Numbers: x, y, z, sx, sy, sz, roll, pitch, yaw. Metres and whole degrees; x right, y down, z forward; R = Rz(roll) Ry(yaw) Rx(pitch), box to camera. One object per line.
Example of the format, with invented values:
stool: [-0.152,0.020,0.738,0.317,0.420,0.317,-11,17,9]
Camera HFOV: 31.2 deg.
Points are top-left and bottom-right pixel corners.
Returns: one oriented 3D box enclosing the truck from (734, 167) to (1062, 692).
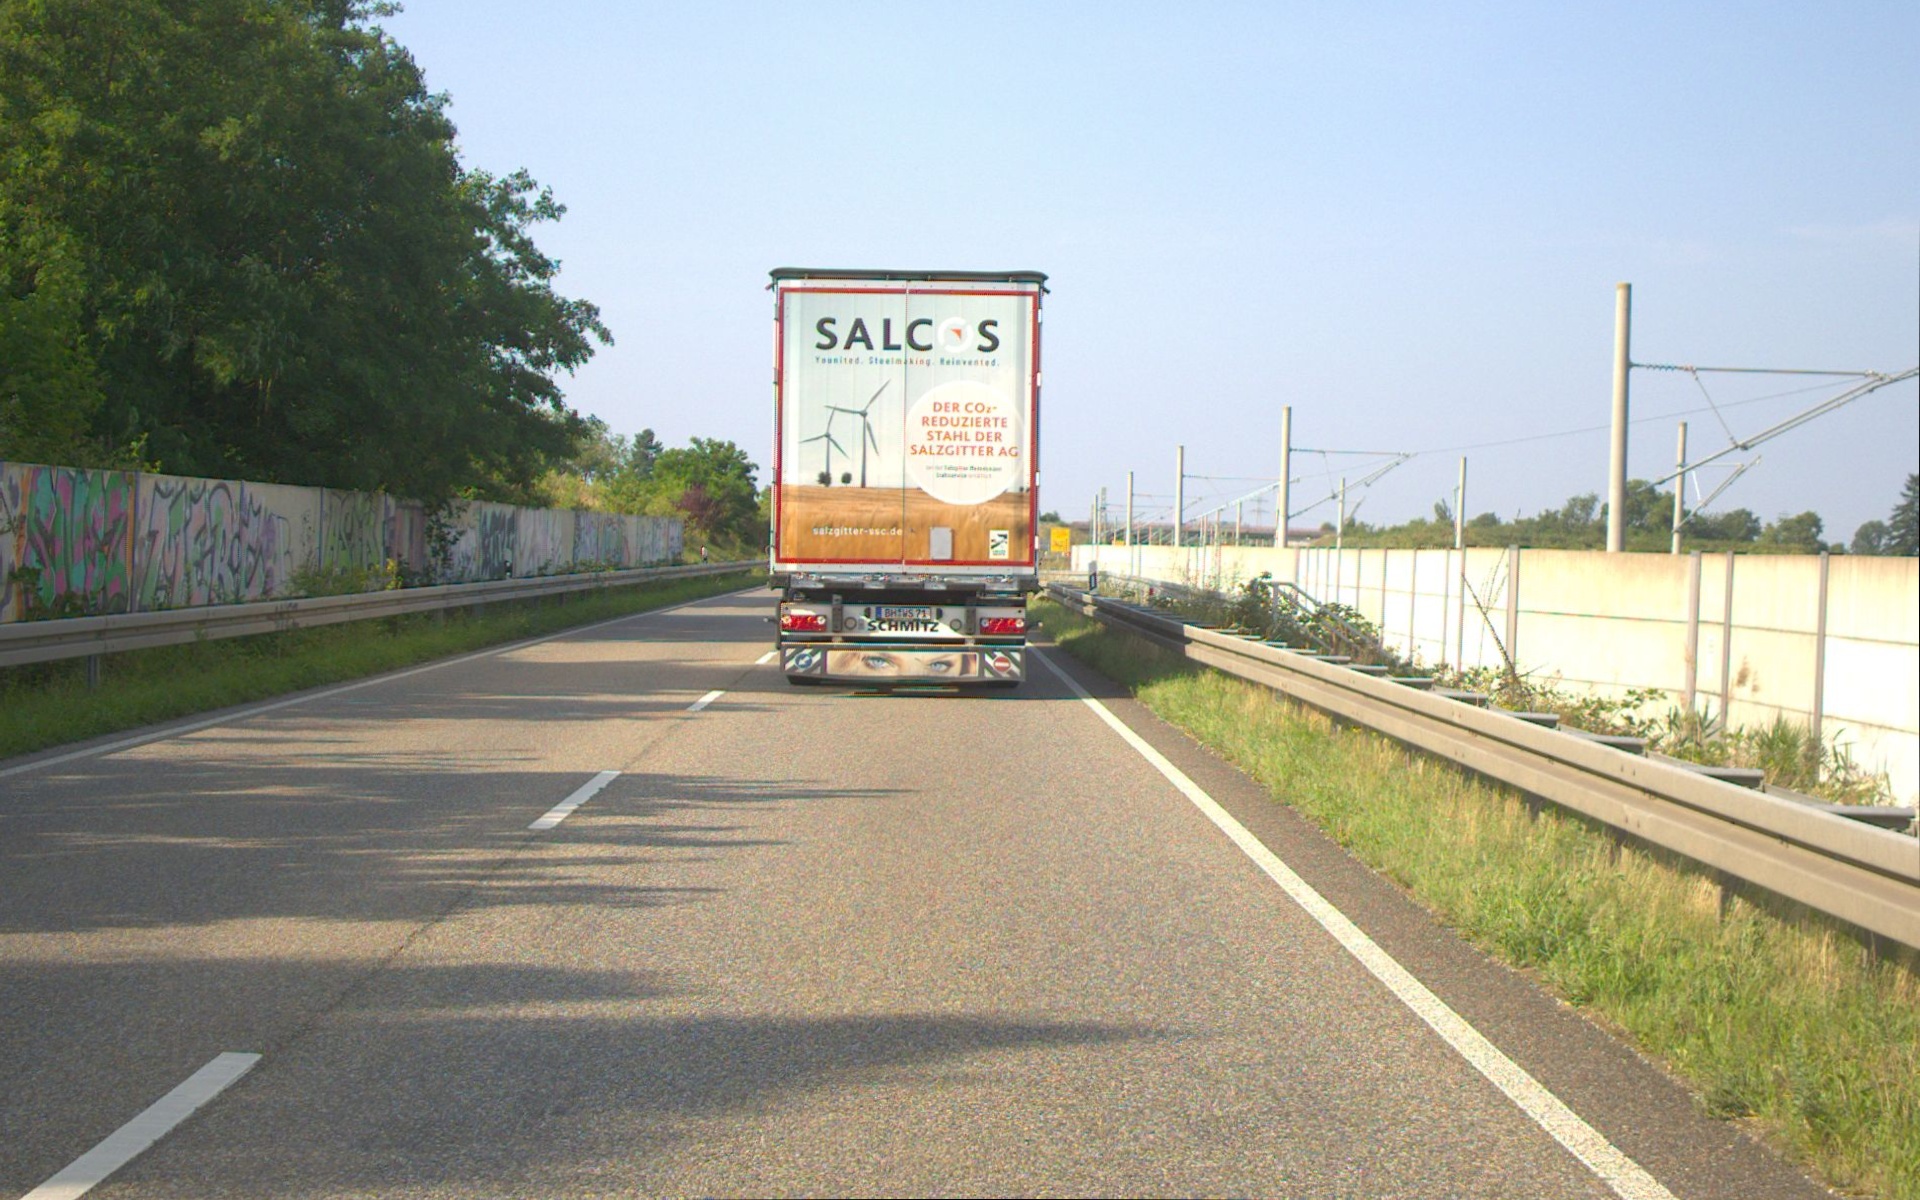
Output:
truck: [-0.801,-1.739,38.241,3.033,4.903,11.686,1,1,-2]
